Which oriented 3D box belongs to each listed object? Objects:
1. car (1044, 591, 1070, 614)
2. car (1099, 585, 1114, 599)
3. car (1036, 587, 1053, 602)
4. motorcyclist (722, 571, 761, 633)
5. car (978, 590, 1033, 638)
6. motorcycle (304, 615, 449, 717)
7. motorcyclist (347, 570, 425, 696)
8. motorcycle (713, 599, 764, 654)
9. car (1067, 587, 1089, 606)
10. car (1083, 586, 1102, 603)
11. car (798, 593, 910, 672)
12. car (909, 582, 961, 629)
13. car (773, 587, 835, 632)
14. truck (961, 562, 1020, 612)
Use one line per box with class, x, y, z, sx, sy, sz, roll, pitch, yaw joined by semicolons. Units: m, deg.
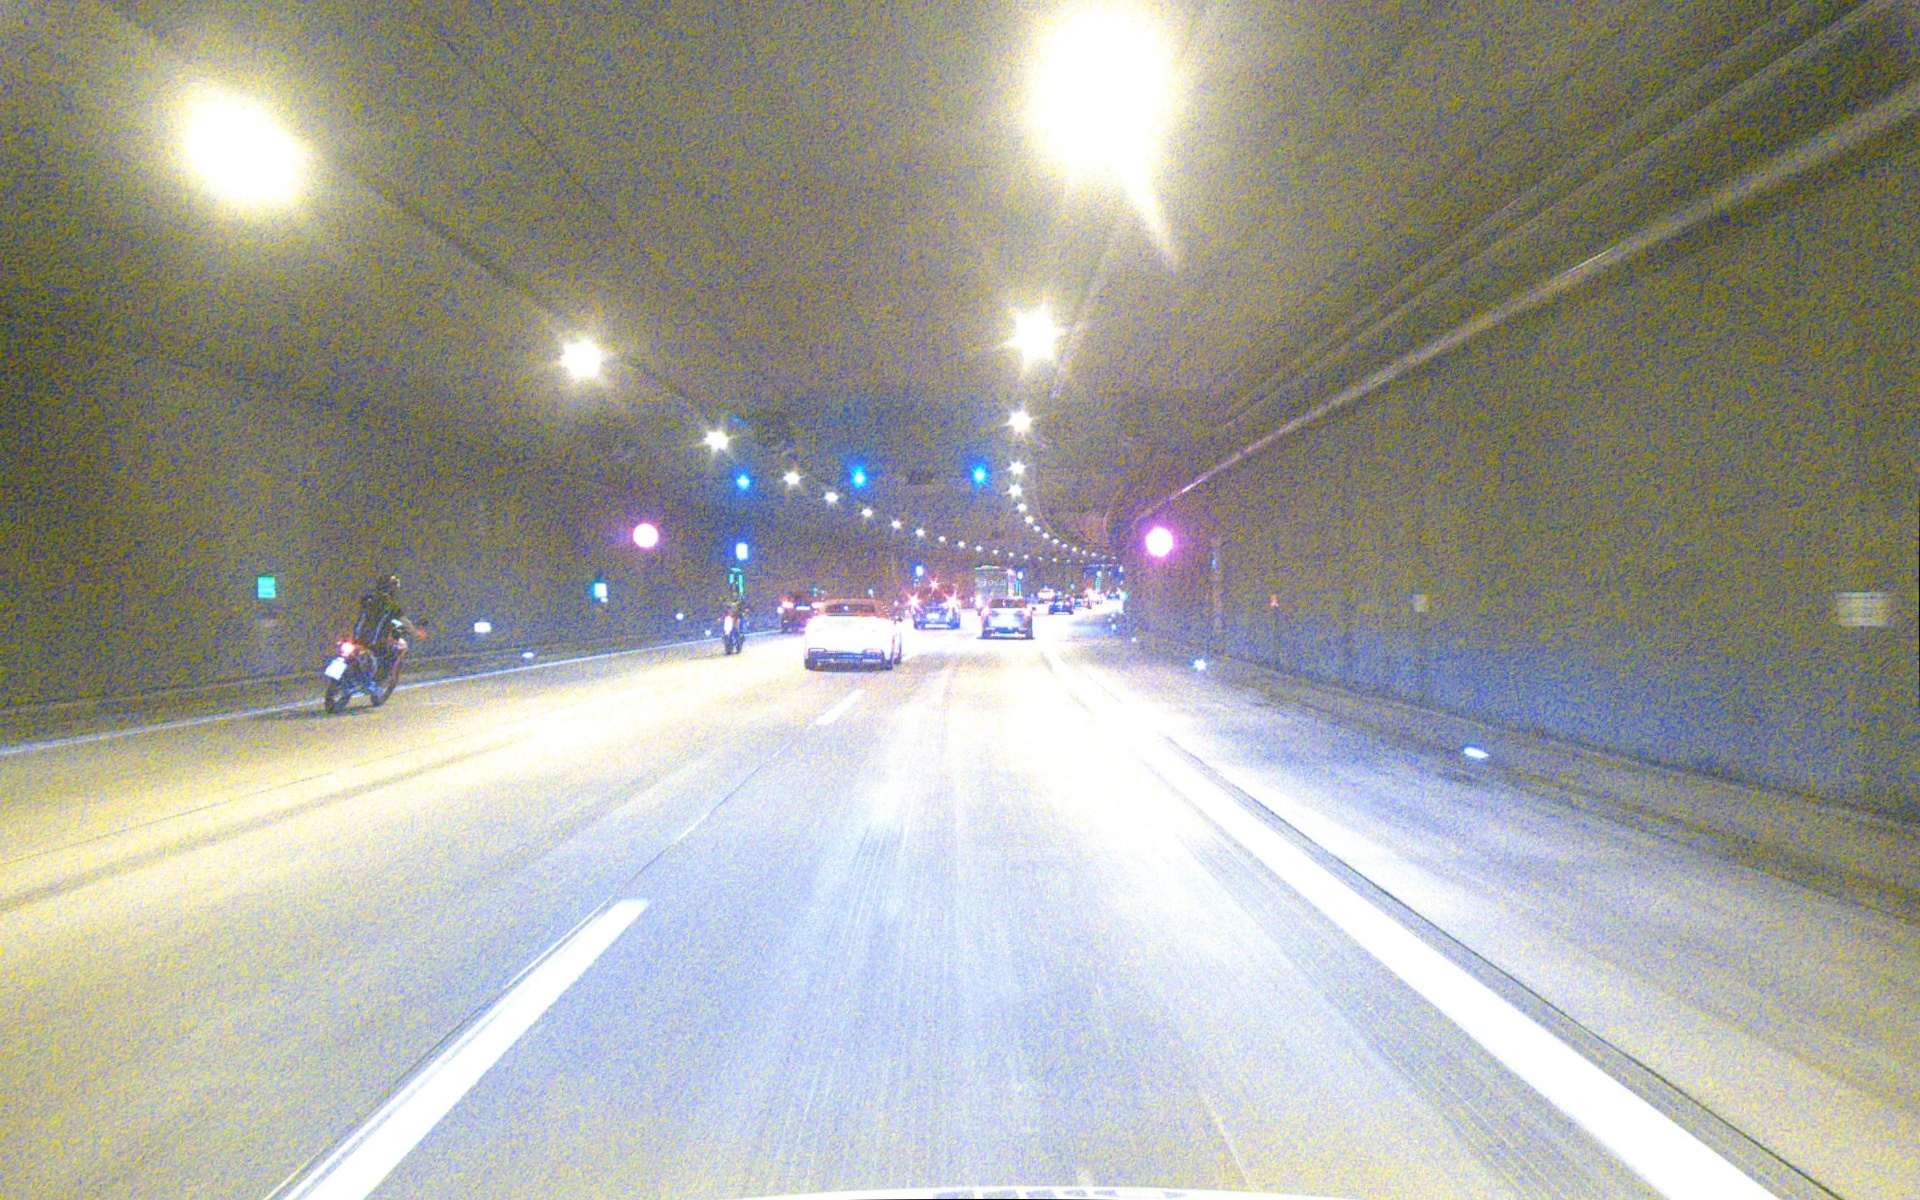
car;7.139;0.204;121.969;1.805;1.595;4.002;-2;0;4
car;18.639;-1.075;210.628;1.794;1.720;4.003;-2;0;7
car;9.287;-0.600;181.978;1.792;1.646;4.001;-2;0;2
motorcyclist;-5.397;0.051;40.887;0.822;1.503;0.822;0;2;0
car;1.578;0.465;58.345;1.802;1.630;4.000;0;0;0
motorcycle;-7.232;0.784;20.655;1.032;1.178;2.426;1;0;-3
motorcyclist;-7.132;0.398;20.592;0.614;1.515;0.890;2;0;-1
motorcycle;-5.409;0.623;40.493;0.828;1.267;2.605;-1;0;1
car;10.755;-0.318;150.296;1.819;1.695;4.003;-2;0;5
car;14.661;-0.622;182.884;1.923;1.781;4.003;-2;0;5
car;-2.125;0.628;34.162;1.952;1.509;4.001;0;0;1
car;-1.072;0.231;72.523;1.952;2.006;4.002;1;0;4
car;-5.848;0.346;62.377;1.748;1.626;3.803;0;0;3
truck;2.217;-0.990;115.010;3.017;3.167;10.037;-3;1;6
